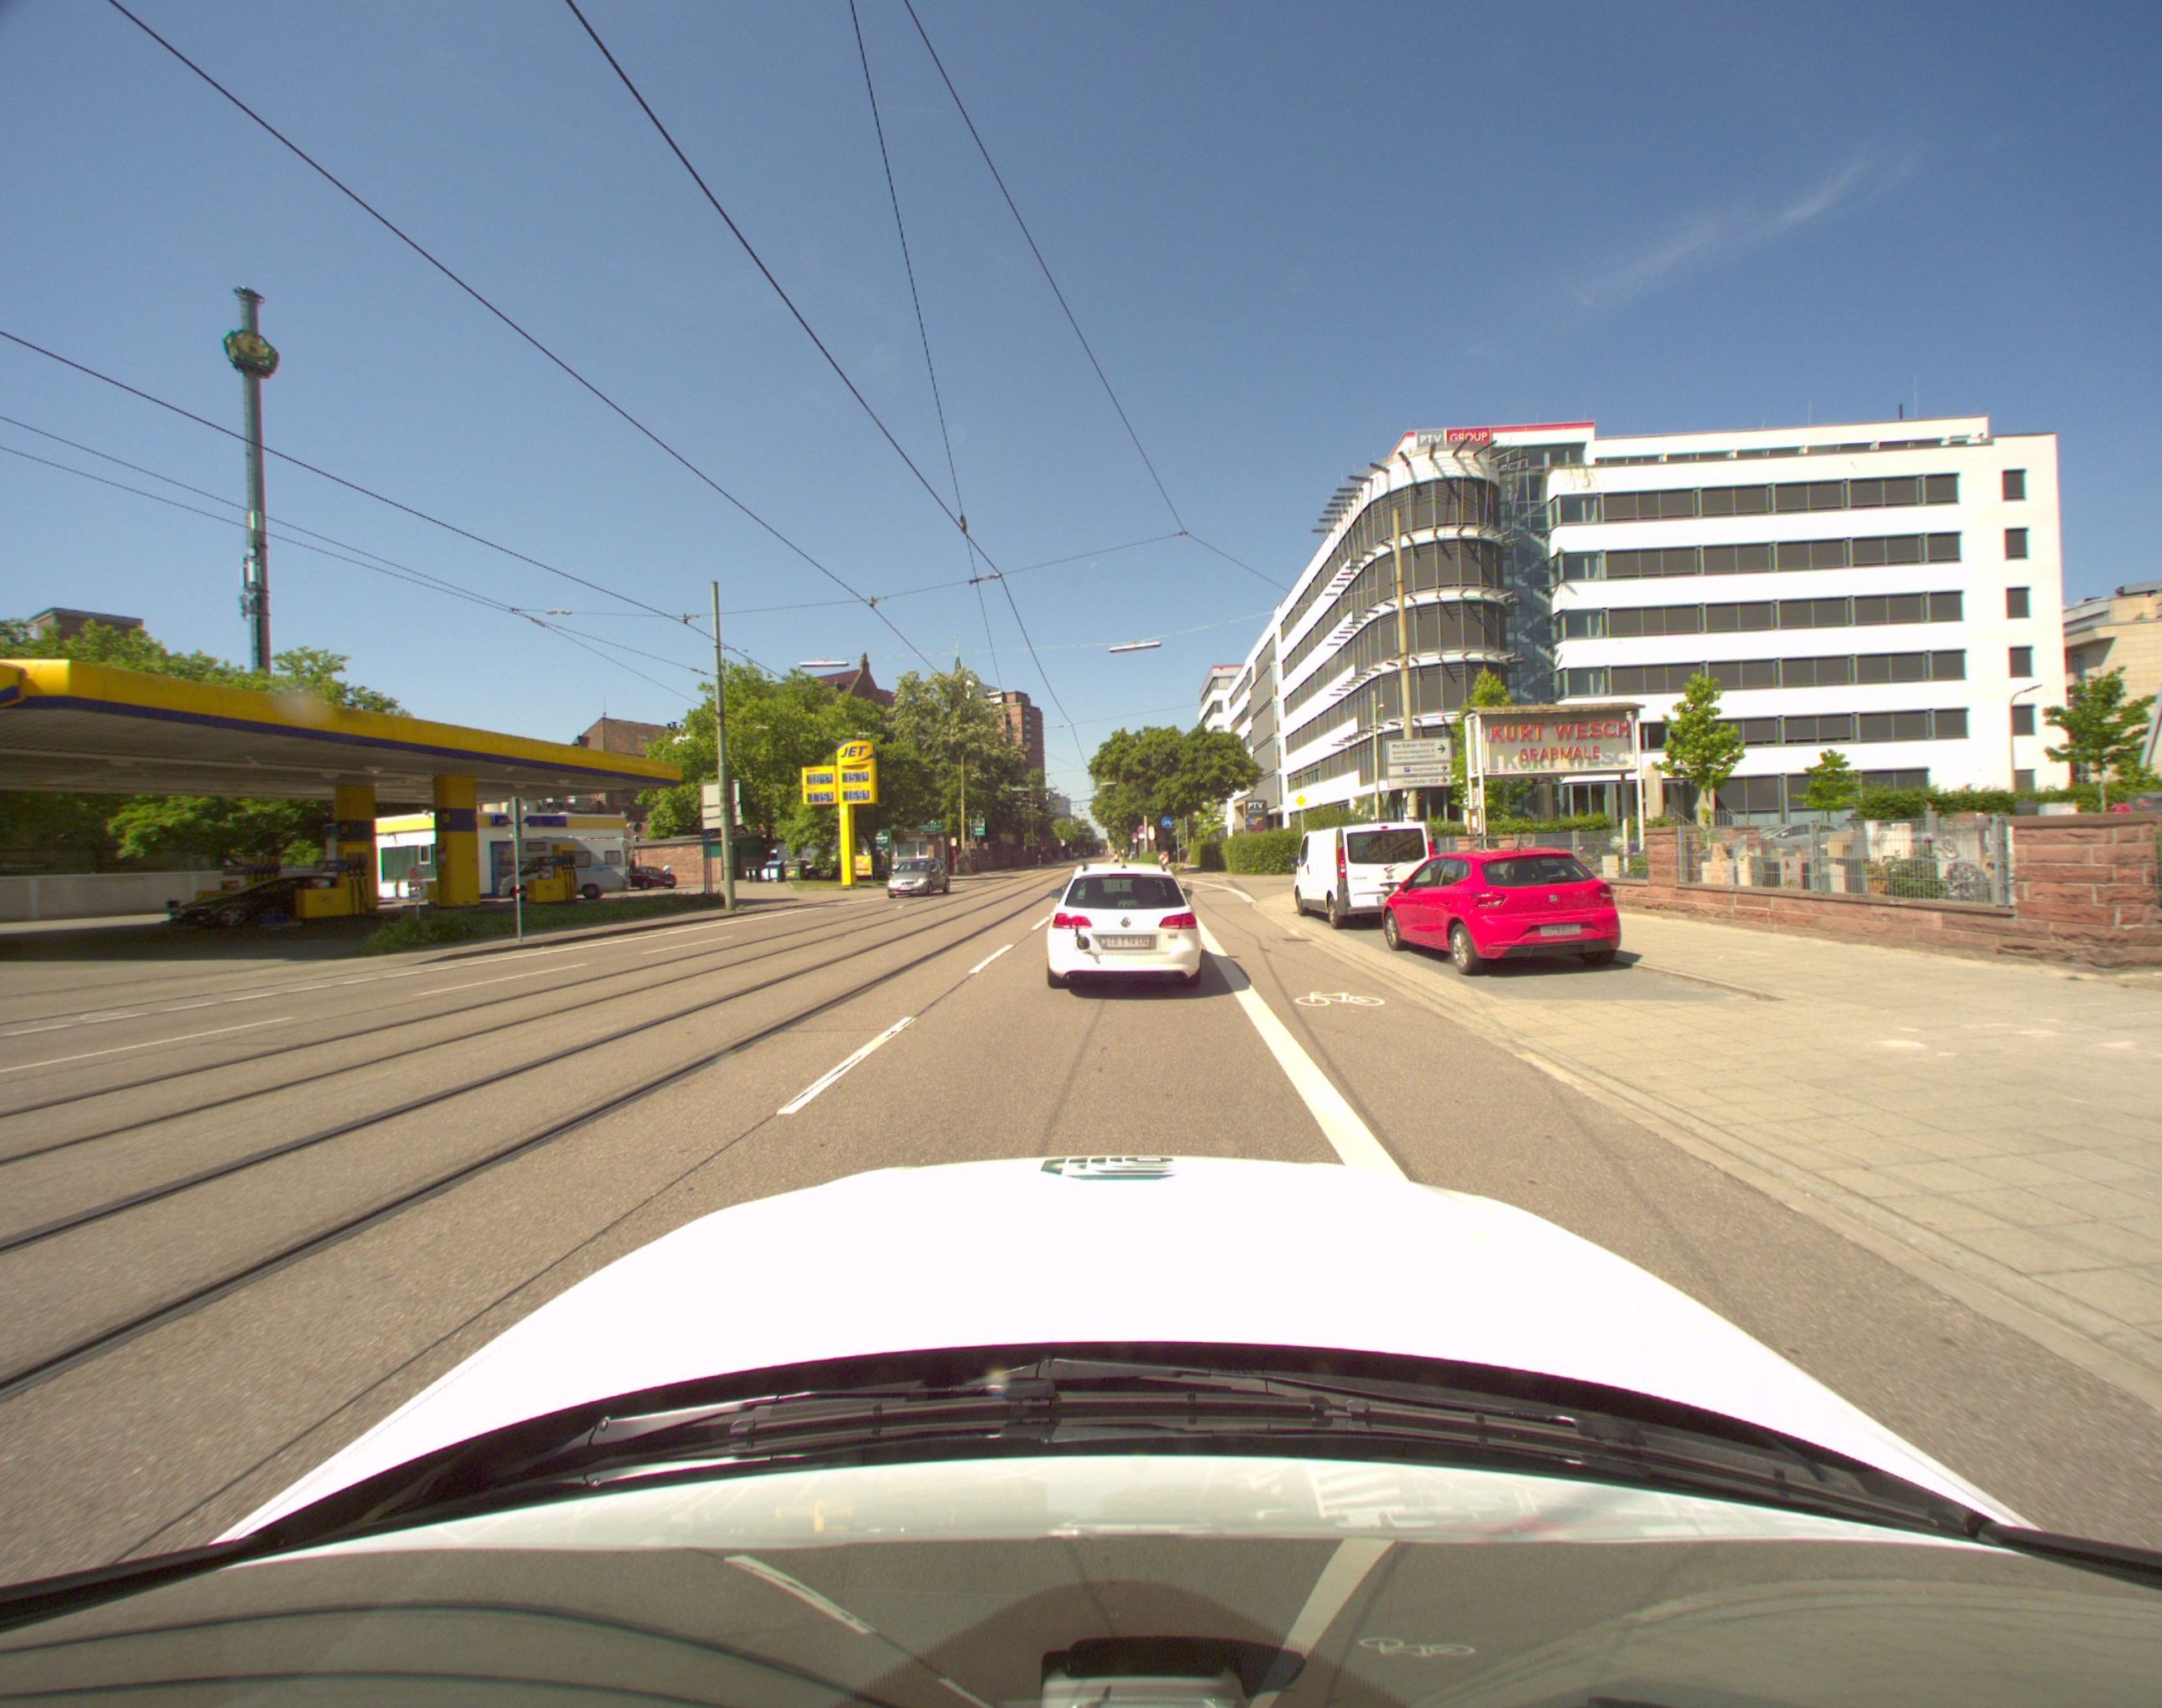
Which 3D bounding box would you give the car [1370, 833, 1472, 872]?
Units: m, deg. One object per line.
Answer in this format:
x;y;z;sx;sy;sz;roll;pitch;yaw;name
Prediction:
14.234;-0.059;34.224;3.578;1.473;1.593;-2;0;3;car

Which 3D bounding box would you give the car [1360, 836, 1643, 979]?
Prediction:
5.296;0.582;10.995;1.715;1.443;4.316;-4;0;3;car

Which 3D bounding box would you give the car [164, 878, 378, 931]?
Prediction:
-25.064;1.502;25.418;1.681;1.303;4.417;0;0;27;car

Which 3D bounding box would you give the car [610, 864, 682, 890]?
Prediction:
-26.979;1.420;50.497;4.118;1.527;1.949;-2;0;28;car

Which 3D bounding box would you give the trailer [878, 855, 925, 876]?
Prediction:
-14.218;0.928;64.497;3.201;1.525;1.779;-2;0;3;trailer

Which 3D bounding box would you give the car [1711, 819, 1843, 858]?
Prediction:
28.802;-0.628;33.793;3.970;1.426;1.659;-2;0;3;car

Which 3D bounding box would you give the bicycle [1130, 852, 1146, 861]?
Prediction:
7.136;0.347;101.619;1.905;1.083;0.550;0;0;-1;bicycle

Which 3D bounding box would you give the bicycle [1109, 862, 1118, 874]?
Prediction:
3.110;1.349;77.626;0.807;1.078;2.014;-2;0;3;bicycle

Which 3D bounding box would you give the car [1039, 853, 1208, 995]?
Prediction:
0.559;0.729;10.694;1.746;1.442;4.416;0;0;3;car

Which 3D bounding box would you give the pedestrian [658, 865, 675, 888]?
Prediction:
-27.019;1.468;53.046;0.672;1.468;0.641;-2;0;11;pedestrian

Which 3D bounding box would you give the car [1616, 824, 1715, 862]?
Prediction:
24.212;-0.443;33.809;2.893;1.411;1.659;-2;0;3;car

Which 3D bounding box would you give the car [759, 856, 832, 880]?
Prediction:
-20.652;0.985;58.994;4.604;1.583;1.926;-2;0;-43;car

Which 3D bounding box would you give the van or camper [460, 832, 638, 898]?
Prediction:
-25.260;0.539;39.082;6.718;2.967;2.597;1;0;-23;van or camper

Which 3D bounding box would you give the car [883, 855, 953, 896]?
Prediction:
-6.898;0.890;34.880;1.737;1.571;3.898;-3;-1;6;car

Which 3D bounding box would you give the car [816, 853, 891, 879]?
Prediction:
-15.719;0.843;56.429;4.605;1.625;1.926;-2;0;-43;car

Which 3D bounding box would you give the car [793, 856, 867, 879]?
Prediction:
-17.784;0.967;57.891;4.605;1.467;1.926;-2;0;-43;car

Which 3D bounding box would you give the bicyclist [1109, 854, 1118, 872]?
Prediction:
3.109;0.856;77.517;0.782;1.629;0.739;-1;-1;3;bicyclist

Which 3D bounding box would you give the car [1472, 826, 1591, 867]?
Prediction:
18.696;-0.314;33.927;3.970;1.547;1.659;-2;0;3;car

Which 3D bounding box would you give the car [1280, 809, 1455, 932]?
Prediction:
5.734;0.286;17.120;1.968;2.054;5.195;-4;0;3;car
